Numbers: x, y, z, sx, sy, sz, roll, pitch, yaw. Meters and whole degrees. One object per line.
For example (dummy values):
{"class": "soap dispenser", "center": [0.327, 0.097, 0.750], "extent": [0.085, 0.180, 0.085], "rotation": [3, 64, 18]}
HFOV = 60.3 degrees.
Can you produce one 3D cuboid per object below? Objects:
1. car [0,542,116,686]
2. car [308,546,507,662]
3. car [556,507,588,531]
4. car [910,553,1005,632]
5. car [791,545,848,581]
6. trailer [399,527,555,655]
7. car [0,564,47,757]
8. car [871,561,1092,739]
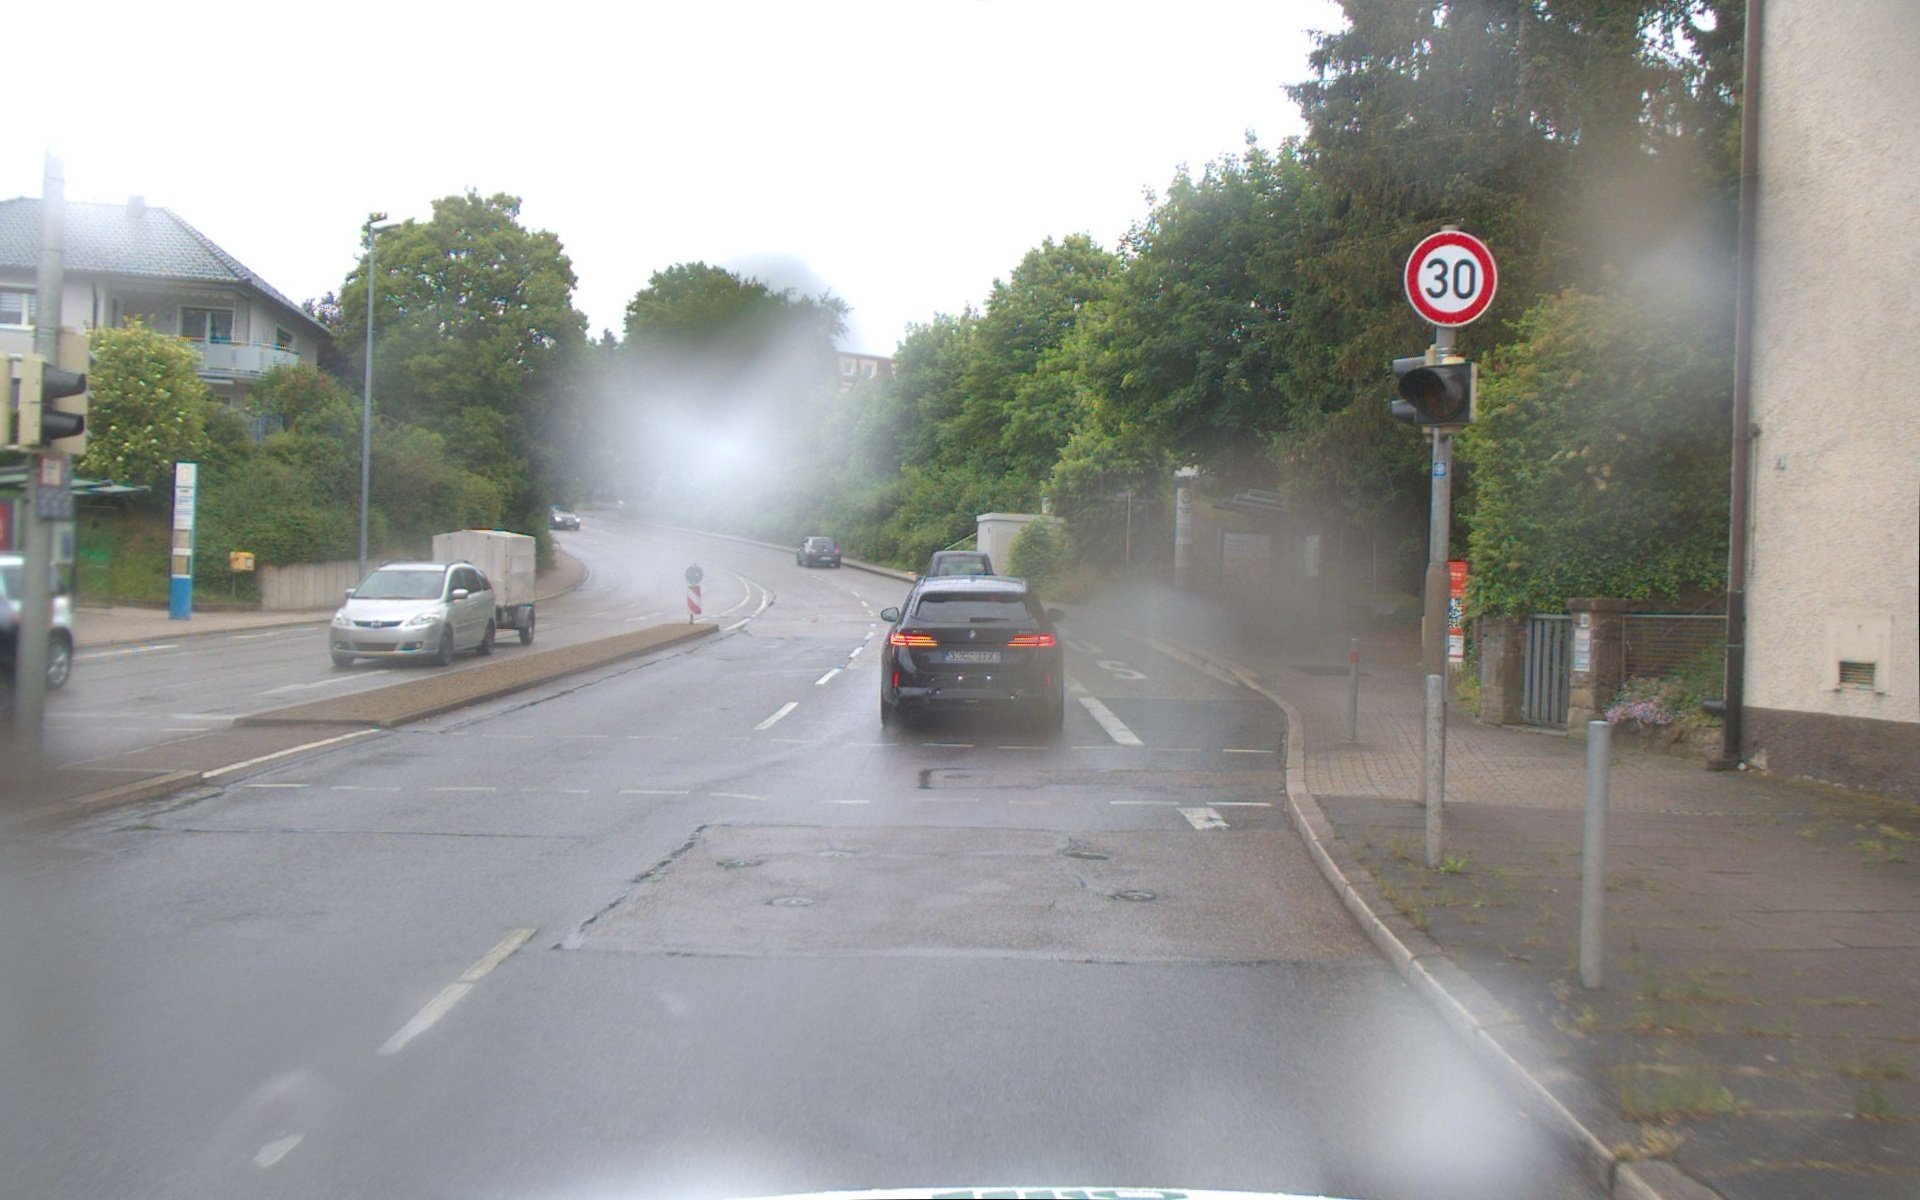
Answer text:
{"class": "car", "center": [-12.122, 0.166, 19.625], "extent": [1.785, 1.686, 4.467], "rotation": [0, 0, 2]}
{"class": "car", "center": [-8.836, 0.002, 26.876], "extent": [1.861, 1.712, 4.478], "rotation": [1, 1, -2]}
{"class": "car", "center": [-25.716, -5.370, 109.506], "extent": [1.862, 1.512, 4.215], "rotation": [0, 2, -17]}
{"class": "car", "center": [-0.115, -0.206, 39.537], "extent": [1.955, 1.779, 3.996], "rotation": [0, 1, -5]}
{"class": "car", "center": [-7.003, -1.847, 82.142], "extent": [1.824, 1.691, 3.977], "rotation": [2, 1, -20]}
{"class": "trailer", "center": [-9.004, -0.171, 31.160], "extent": [1.858, 2.217, 4.034], "rotation": [1, 0, -2]}
{"class": "car", "center": [-8.679, 0.494, 12.084], "extent": [1.805, 1.579, 4.380], "rotation": [0, 0, -4]}
{"class": "car", "center": [0.083, 0.475, 17.861], "extent": [1.954, 1.614, 4.659], "rotation": [2, 0, -4]}
